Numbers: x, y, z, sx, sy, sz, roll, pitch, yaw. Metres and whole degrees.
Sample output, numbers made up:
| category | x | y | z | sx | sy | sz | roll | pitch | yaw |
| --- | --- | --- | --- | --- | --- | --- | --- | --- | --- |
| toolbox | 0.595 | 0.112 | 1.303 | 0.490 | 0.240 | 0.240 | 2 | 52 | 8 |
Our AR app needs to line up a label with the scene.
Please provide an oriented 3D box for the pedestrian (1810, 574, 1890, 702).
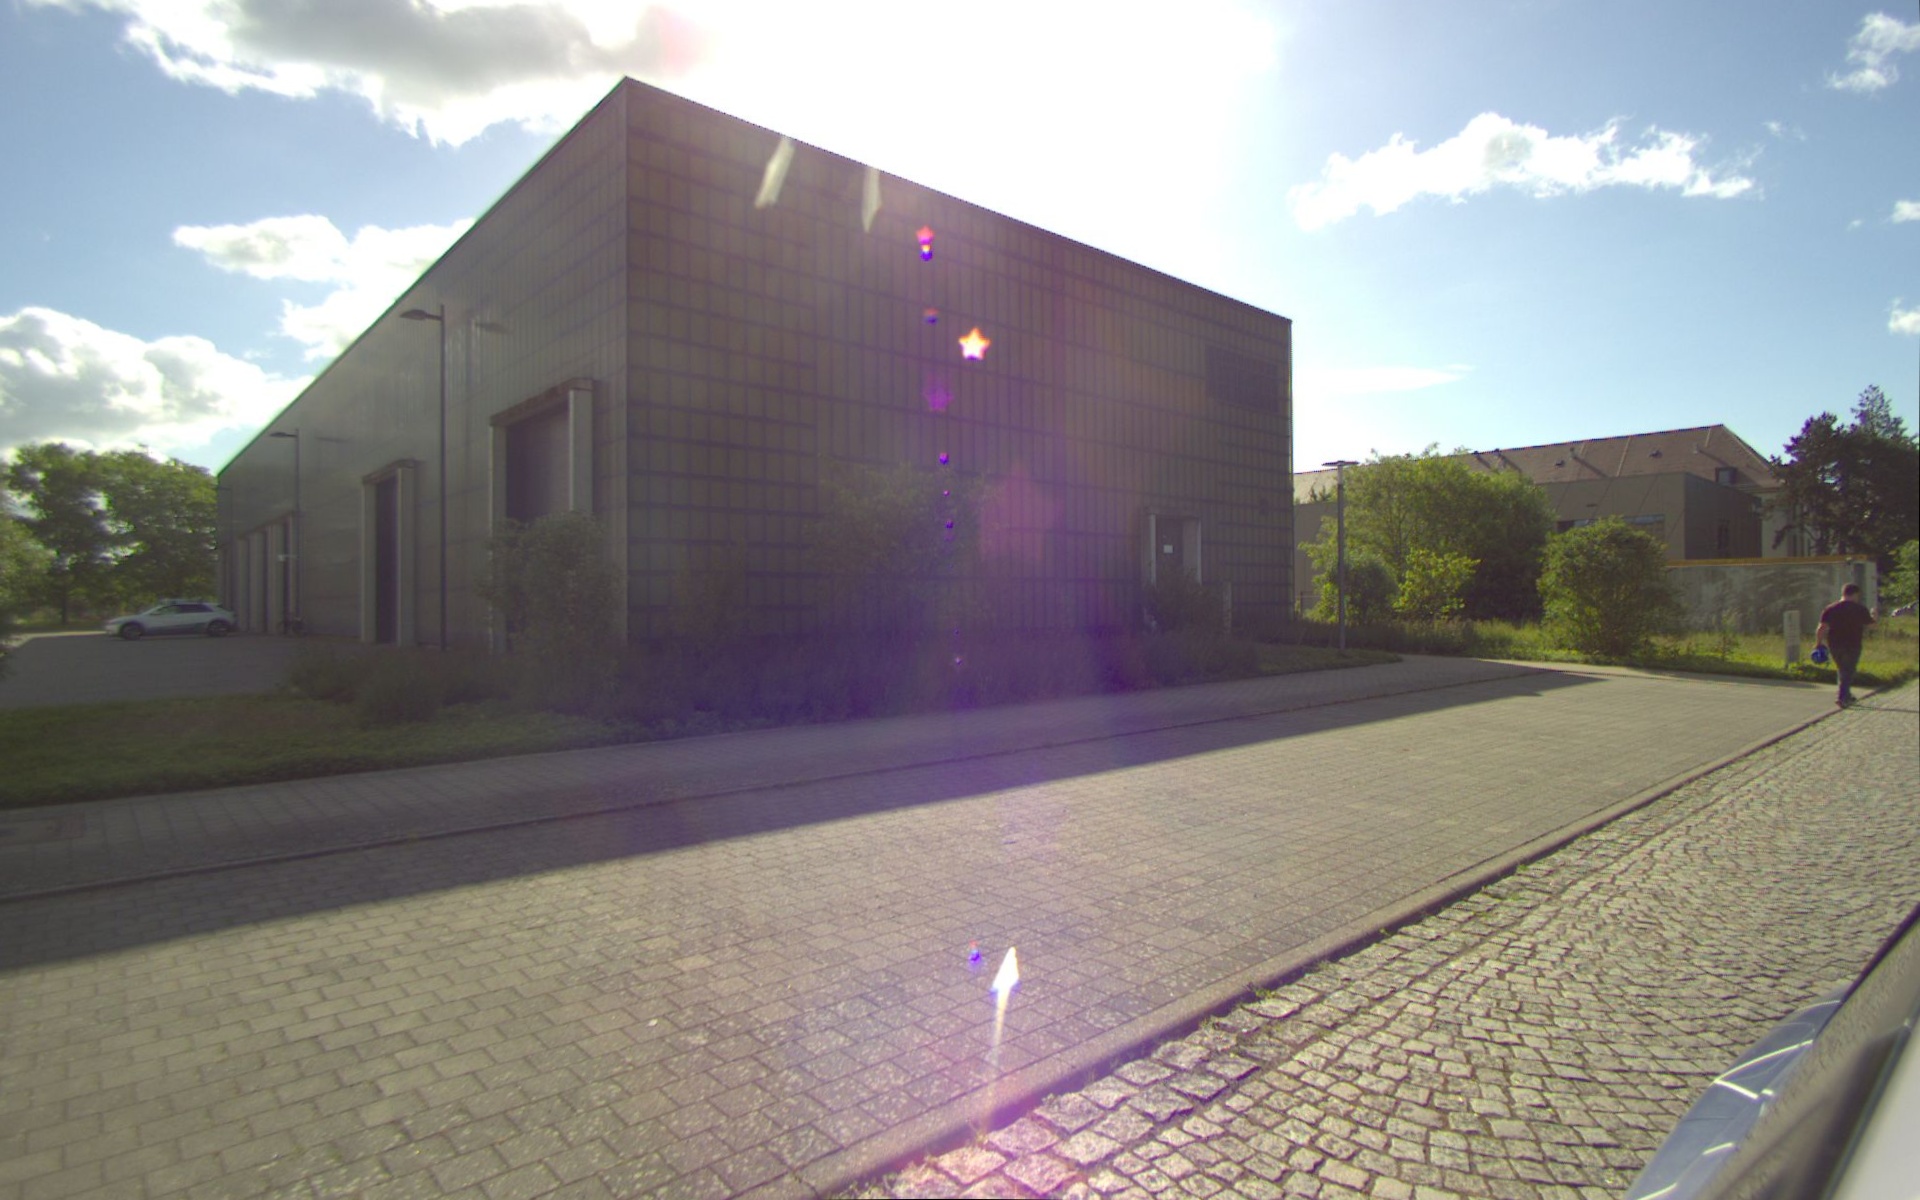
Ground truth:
| category | x | y | z | sx | sy | sz | roll | pitch | yaw |
| --- | --- | --- | --- | --- | --- | --- | --- | --- | --- |
| pedestrian | 13.109 | 0.524 | 14.906 | 1.051 | 1.803 | 0.795 | 0 | 0 | -44 |

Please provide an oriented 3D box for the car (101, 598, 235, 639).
| category | x | y | z | sx | sy | sz | roll | pitch | yaw |
| --- | --- | --- | --- | --- | --- | --- | --- | --- | --- |
| car | -34.726 | 0.771 | 44.417 | 4.502 | 1.684 | 1.995 | 0 | 0 | -43 |
